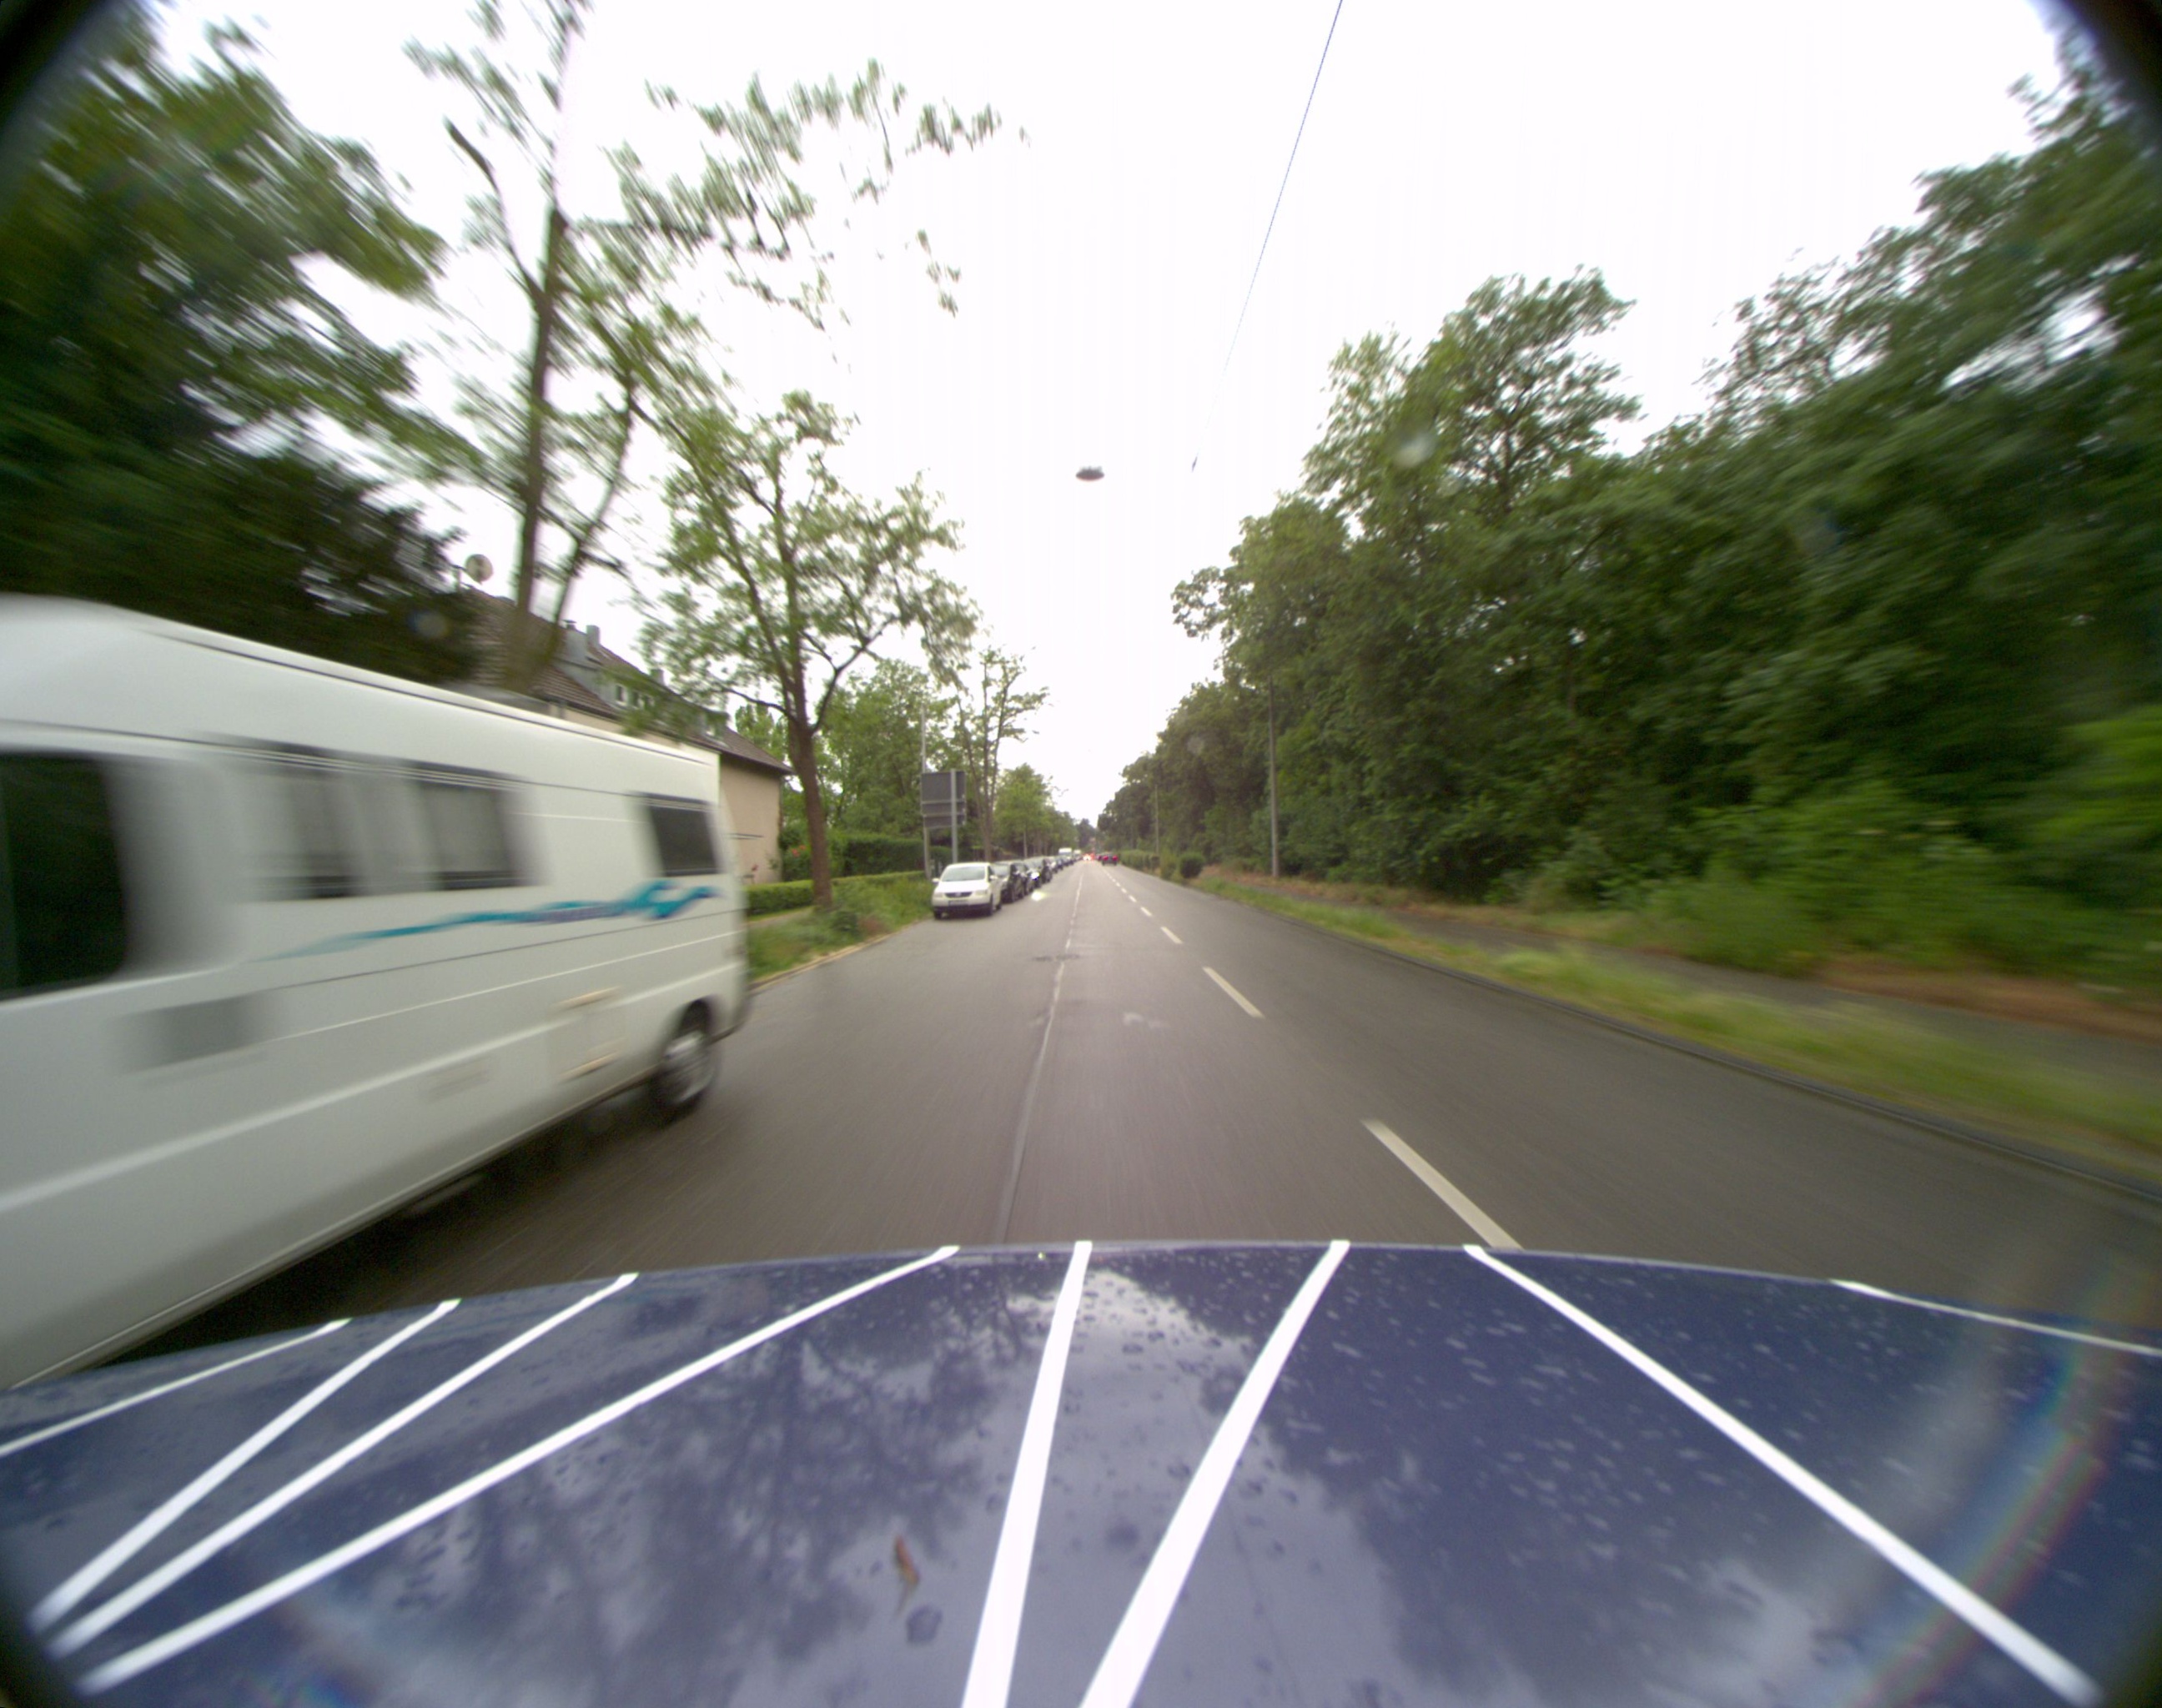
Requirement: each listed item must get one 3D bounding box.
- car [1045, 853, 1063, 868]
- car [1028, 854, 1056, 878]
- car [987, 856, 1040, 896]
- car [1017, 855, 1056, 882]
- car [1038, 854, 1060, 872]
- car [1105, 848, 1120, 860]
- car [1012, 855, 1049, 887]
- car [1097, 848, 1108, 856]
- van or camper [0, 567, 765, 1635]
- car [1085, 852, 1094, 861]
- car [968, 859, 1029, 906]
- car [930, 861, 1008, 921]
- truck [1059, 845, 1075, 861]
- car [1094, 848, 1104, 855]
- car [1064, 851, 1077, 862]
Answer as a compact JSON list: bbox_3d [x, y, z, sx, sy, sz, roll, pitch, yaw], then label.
[{"bbox_3d":[-2.810,0.637,80.321,1.675,1.420,3.699,-3,1,0],"label":"car"},{"bbox_3d":[-2.564,0.774,50.732,1.601,1.508,2.801,-3,1,0],"label":"car"},{"bbox_3d":[-2.907,0.916,33.735,1.757,1.517,4.823,-3,0,1],"label":"car"},{"bbox_3d":[-2.585,0.806,44.968,1.732,1.402,4.001,-3,0,4],"label":"car"},{"bbox_3d":[-2.787,0.747,66.903,1.675,1.420,3.699,-3,1,0],"label":"car"},{"bbox_3d":[4.128,-0.016,99.662,1.680,1.608,4.061,-1,1,0],"label":"car"},{"bbox_3d":[-2.586,0.867,39.912,1.621,1.459,4.410,-3,0,0],"label":"car"},{"bbox_3d":[4.011,-0.316,143.068,1.851,1.490,3.999,-1,1,-1],"label":"car"},{"bbox_3d":[-3.539,0.601,2.950,2.042,2.465,5.638,-4,0,0],"label":"van or camper"},{"bbox_3d":[2.224,0.668,187.592,1.998,2.002,4.000,-3,1,2],"label":"car"},{"bbox_3d":[-2.982,0.992,28.211,1.621,1.462,3.944,-3,0,2],"label":"car"},{"bbox_3d":[-3.199,1.027,22.307,1.575,1.463,3.765,-3,0,1],"label":"car"},{"bbox_3d":[-2.058,-0.116,113.595,2.230,2.322,5.113,-1,1,0],"label":"truck"},{"bbox_3d":[4.058,-0.529,170.627,1.999,1.543,3.999,-1,1,0],"label":"car"},{"bbox_3d":[-1.387,0.280,100.932,1.789,1.452,3.999,-1,1,-1],"label":"car"}]
